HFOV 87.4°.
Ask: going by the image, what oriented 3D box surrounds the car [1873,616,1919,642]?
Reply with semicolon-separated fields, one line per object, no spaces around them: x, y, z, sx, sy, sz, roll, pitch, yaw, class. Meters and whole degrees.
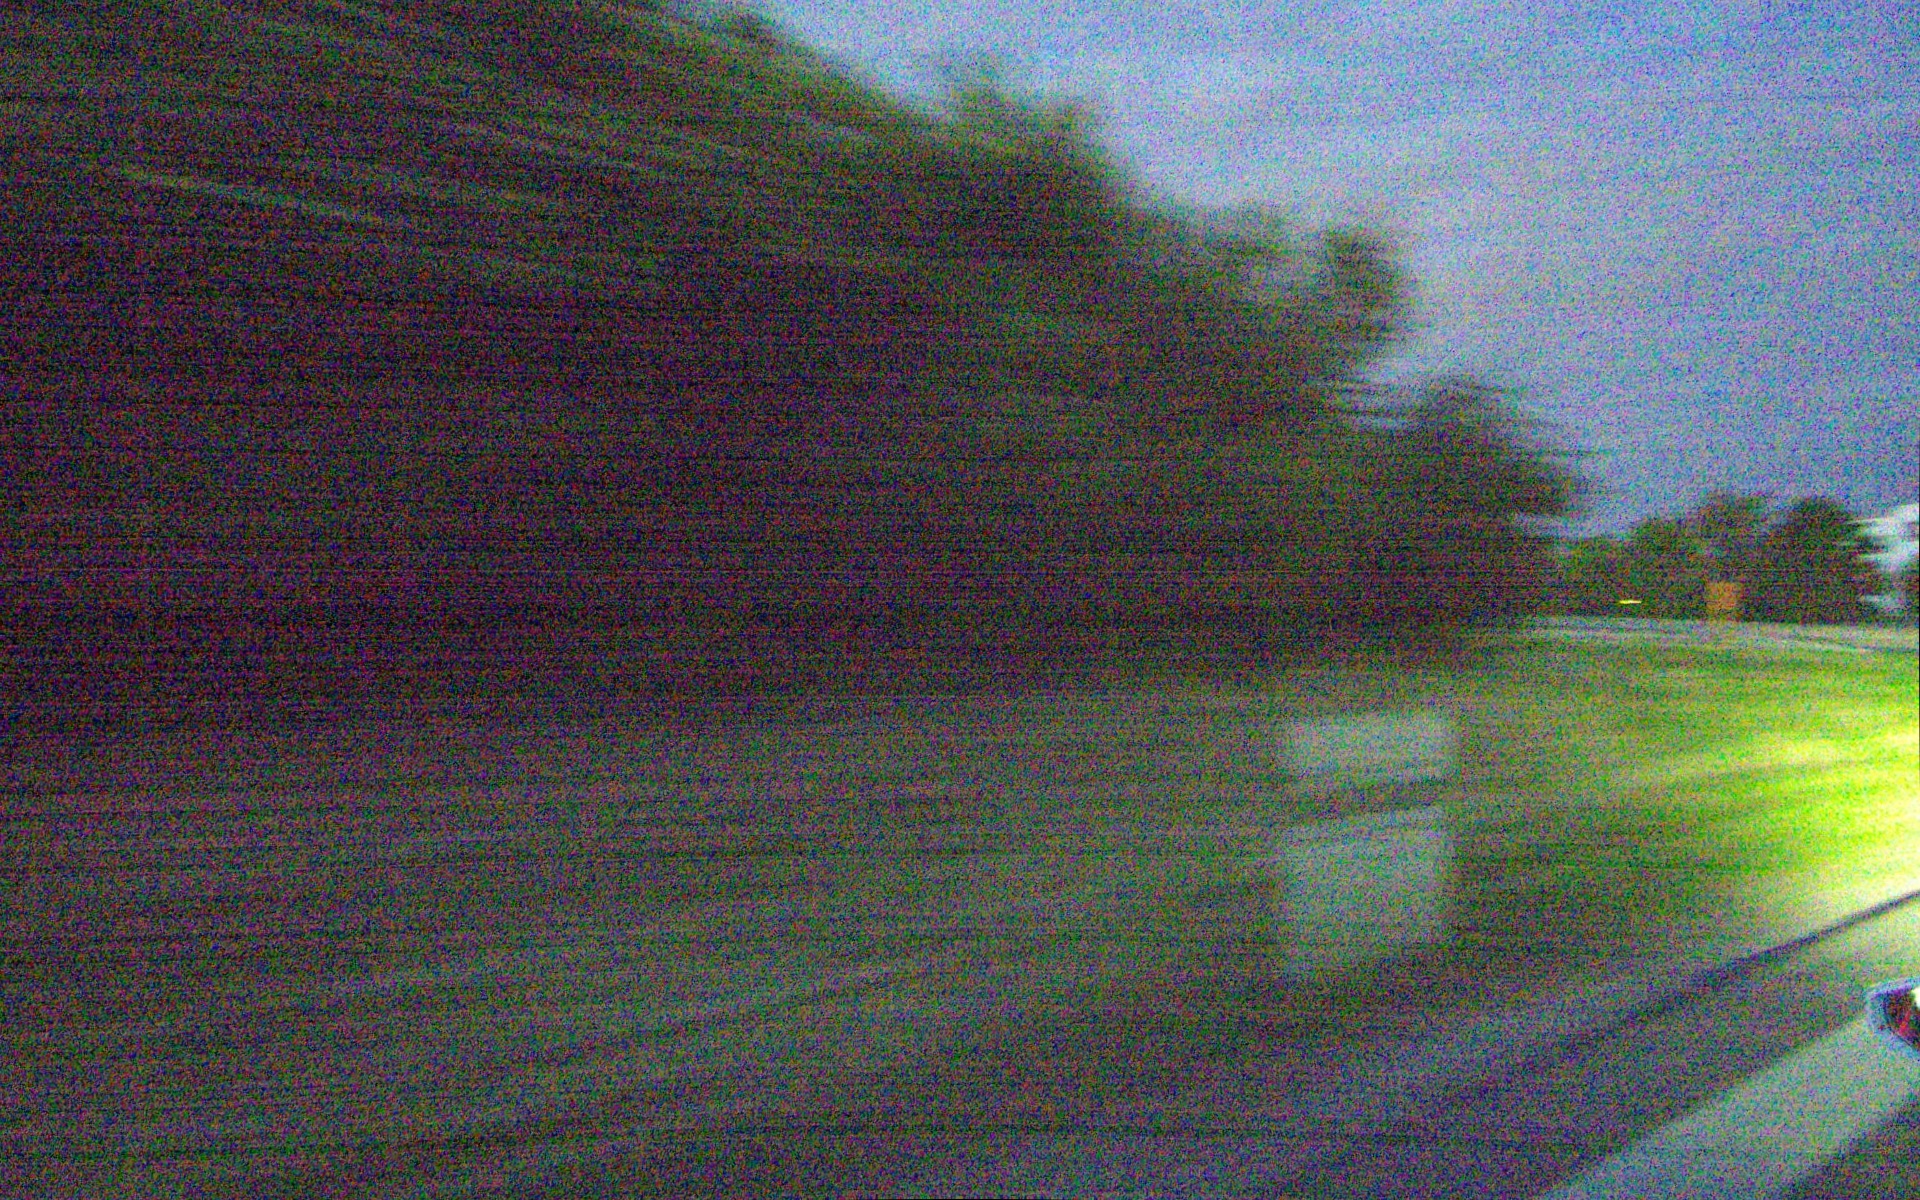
44.262;1.358;45.508;3.924;1.073;1.563;2;1;24;car
